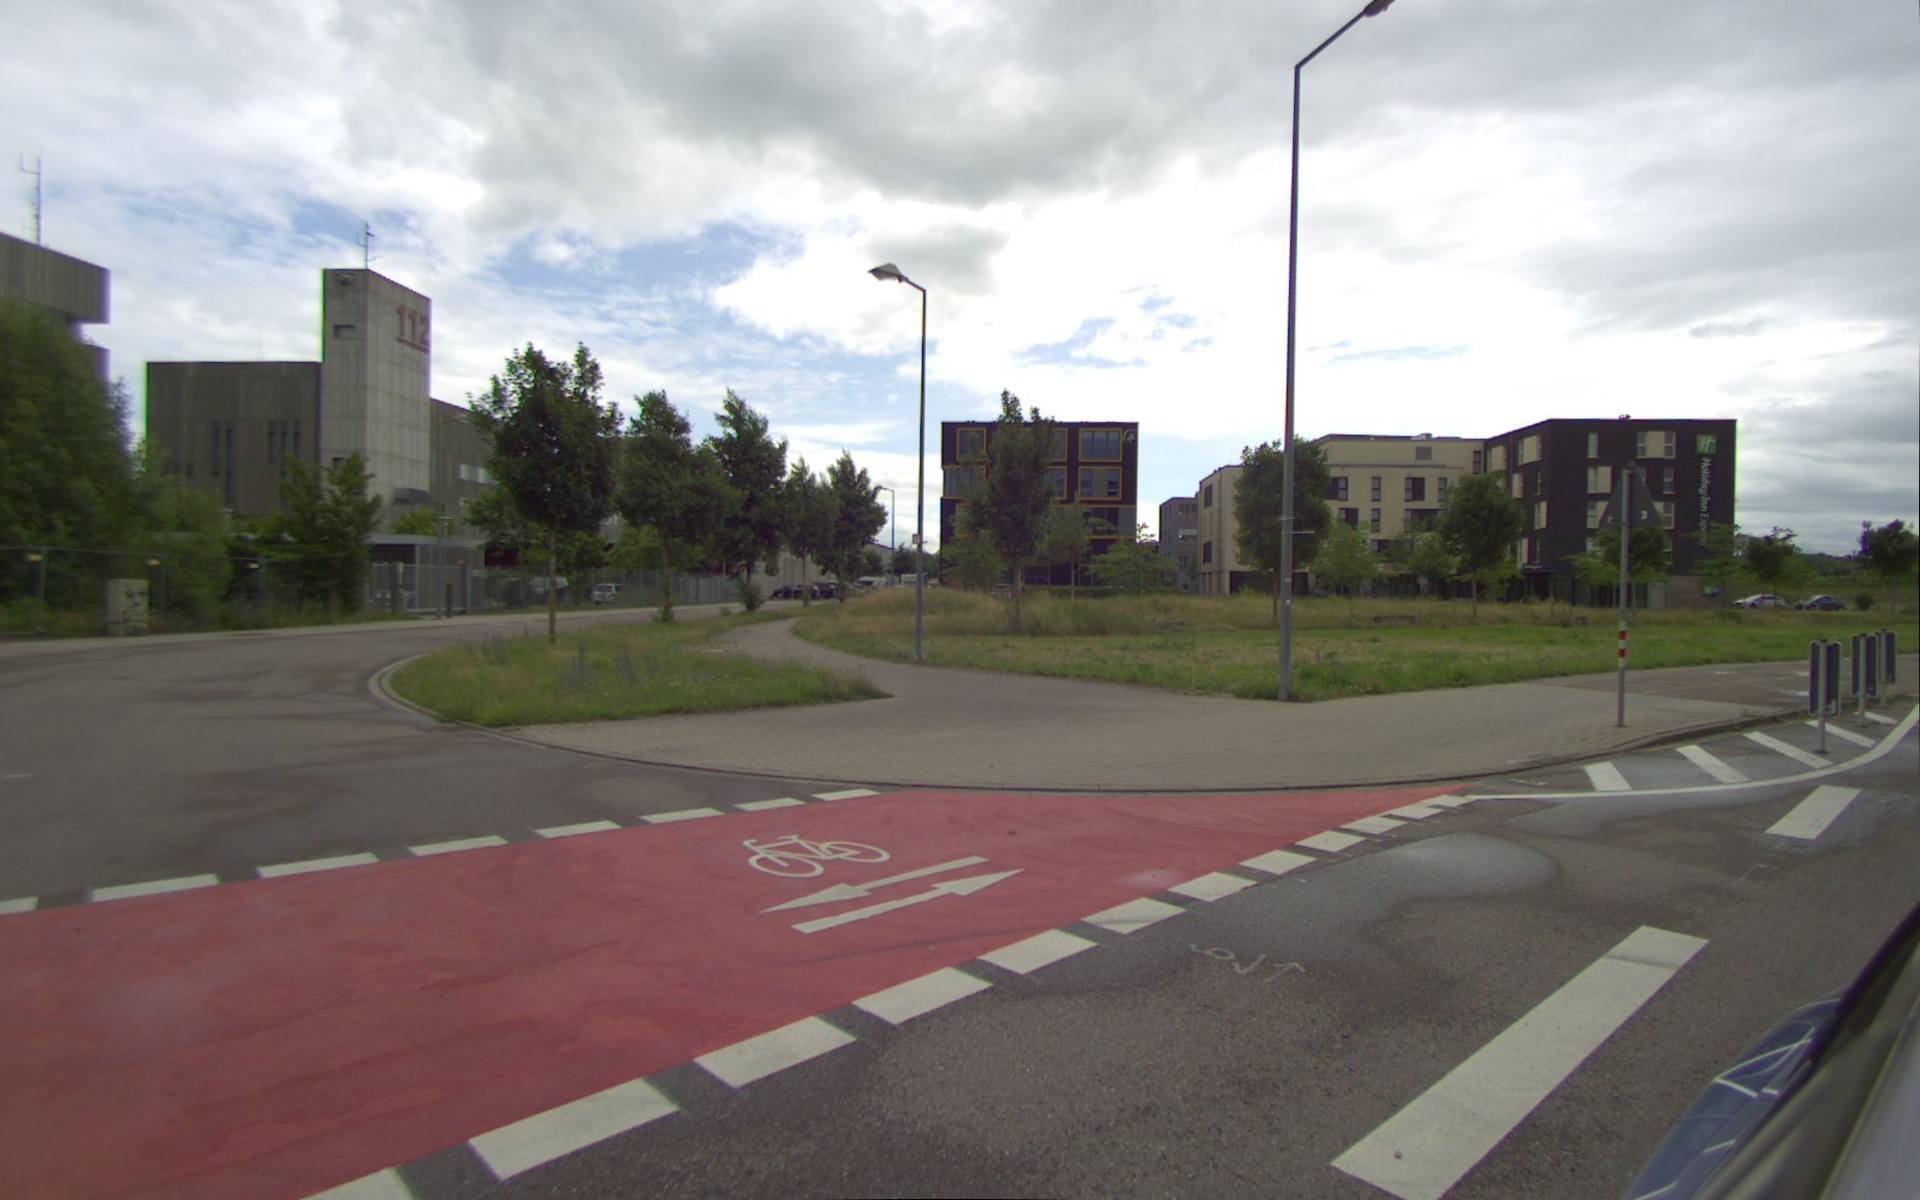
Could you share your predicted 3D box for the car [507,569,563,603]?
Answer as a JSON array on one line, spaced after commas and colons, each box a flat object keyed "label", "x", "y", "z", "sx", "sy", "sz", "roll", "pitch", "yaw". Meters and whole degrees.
[{"label": "car", "x": -26.621, "y": -0.896, "z": 63.515, "sx": 1.961, "sy": 2.039, "sz": 4.002, "roll": 1, "pitch": 1, "yaw": -2}]

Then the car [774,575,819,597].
[{"label": "car", "x": -15.448, "y": -1.299, "z": 95.475, "sx": 3.924, "sy": 2.039, "sz": 2.000, "roll": 1, "pitch": 1, "yaw": 0}]

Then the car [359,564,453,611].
[{"label": "car", "x": -25.674, "y": -0.598, "z": 47.064, "sx": 1.964, "sy": 2.039, "sz": 3.996, "roll": 1, "pitch": 1, "yaw": 4}]

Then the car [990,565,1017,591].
[{"label": "car", "x": 3.446, "y": -1.756, "z": 80.585, "sx": 1.963, "sy": 2.039, "sz": 3.999, "roll": 1, "pitch": 1, "yaw": 1}]

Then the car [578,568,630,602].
[{"label": "car", "x": -22.444, "y": -0.933, "z": 63.969, "sx": 1.961, "sy": 2.039, "sz": 4.002, "roll": 1, "pitch": 1, "yaw": -2}]

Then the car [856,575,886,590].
[{"label": "car", "x": -12.157, "y": -2.387, "z": 138.599, "sx": 3.926, "sy": 2.039, "sz": 1.999, "roll": 1, "pitch": 1, "yaw": 2}]

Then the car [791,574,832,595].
[{"label": "car", "x": -15.094, "y": -1.604, "z": 103.089, "sx": 3.924, "sy": 2.039, "sz": 2.000, "roll": 1, "pitch": 1, "yaw": 0}]

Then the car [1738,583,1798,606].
[{"label": "car", "x": 76.846, "y": -0.531, "z": 96.295, "sx": 3.927, "sy": 2.039, "sz": 1.999, "roll": 1, "pitch": 1, "yaw": 4}]

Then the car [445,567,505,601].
[{"label": "car", "x": -30.250, "y": -1.012, "z": 63.236, "sx": 1.961, "sy": 2.039, "sz": 4.002, "roll": 1, "pitch": 1, "yaw": -2}]

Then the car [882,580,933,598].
[{"label": "car", "x": -4.235, "y": -0.916, "z": 82.237, "sx": 3.934, "sy": 1.349, "sz": 1.560, "roll": 1, "pitch": 1, "yaw": 9}]
